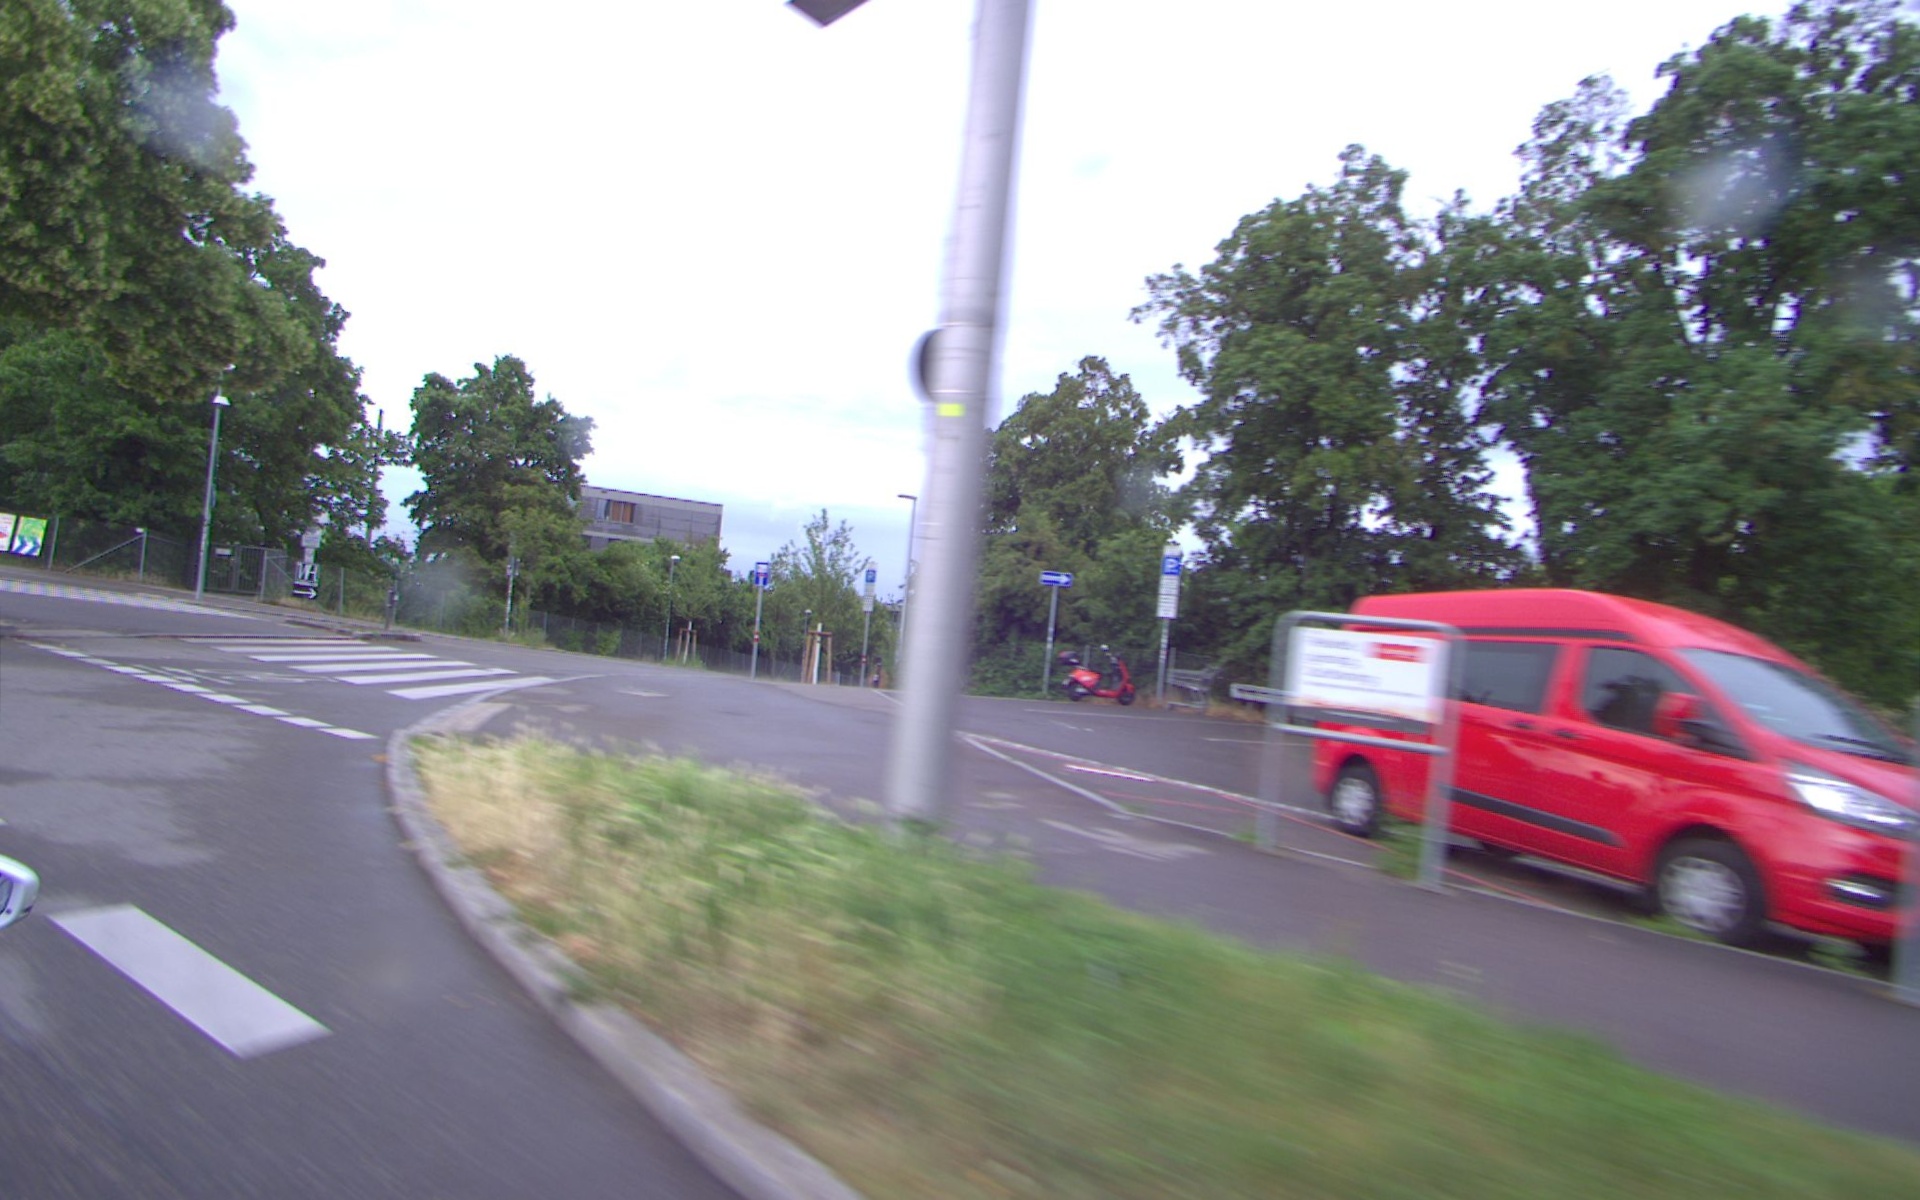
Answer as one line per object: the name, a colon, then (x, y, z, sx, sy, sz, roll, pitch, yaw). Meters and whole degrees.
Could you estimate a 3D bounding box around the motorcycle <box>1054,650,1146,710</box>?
motorcycle: (3.090, 1.772, 22.208, 1.995, 1.227, 0.472, 4, -4, -21)

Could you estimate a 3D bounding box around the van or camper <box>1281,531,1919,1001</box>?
van or camper: (5.157, 1.092, 8.068, 2.012, 2.430, 5.381, 10, -4, -15)
